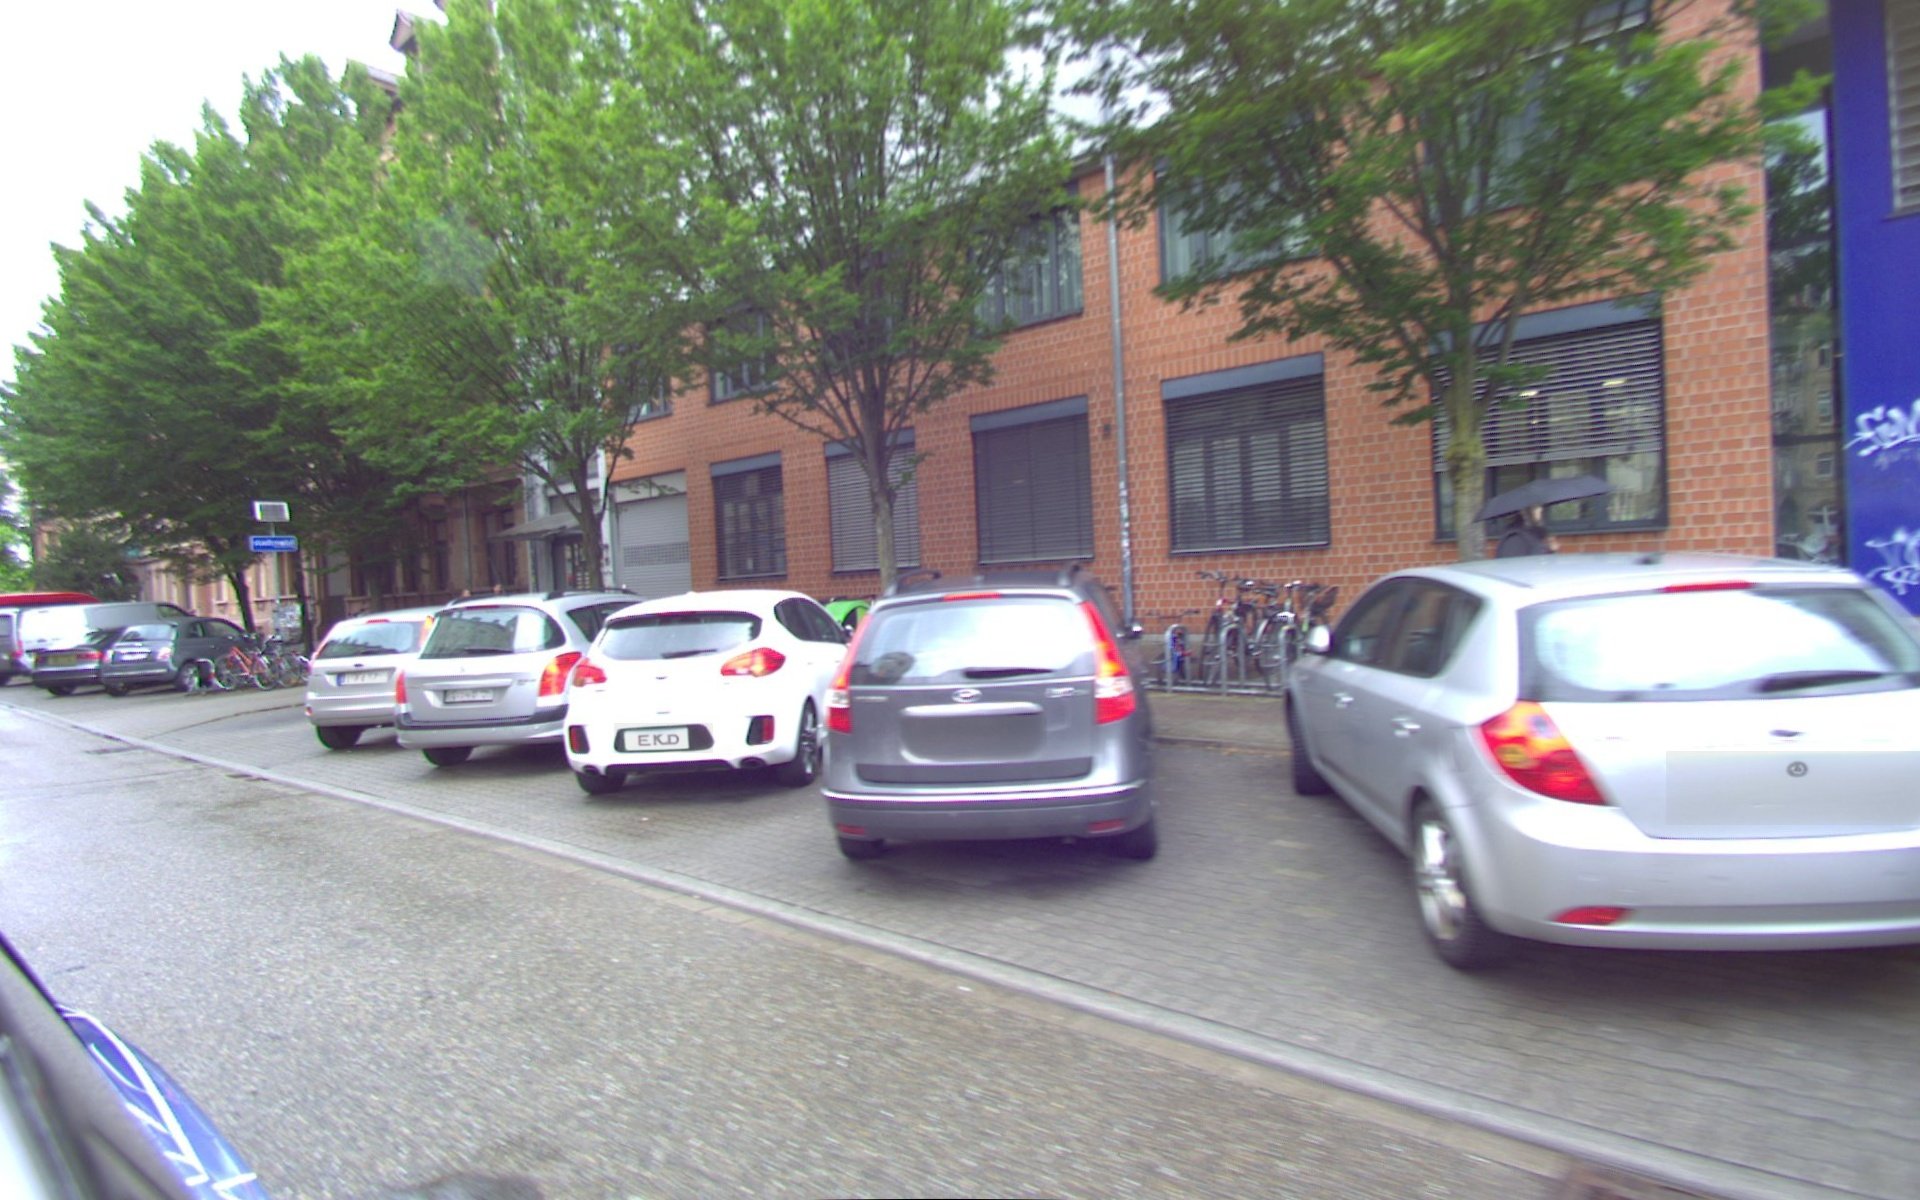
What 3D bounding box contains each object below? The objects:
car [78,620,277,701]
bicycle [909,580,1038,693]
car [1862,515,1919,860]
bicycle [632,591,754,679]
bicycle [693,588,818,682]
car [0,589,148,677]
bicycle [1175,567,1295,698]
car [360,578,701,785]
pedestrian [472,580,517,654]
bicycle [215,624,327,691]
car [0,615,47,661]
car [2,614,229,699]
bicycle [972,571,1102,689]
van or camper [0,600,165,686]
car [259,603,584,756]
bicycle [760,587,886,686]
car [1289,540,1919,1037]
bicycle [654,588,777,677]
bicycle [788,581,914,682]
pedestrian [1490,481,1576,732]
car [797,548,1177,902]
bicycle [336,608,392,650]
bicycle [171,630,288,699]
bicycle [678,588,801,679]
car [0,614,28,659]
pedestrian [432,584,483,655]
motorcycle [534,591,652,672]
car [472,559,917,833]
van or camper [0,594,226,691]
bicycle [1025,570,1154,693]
[{"bbox_3d":[-16.501,1.223,21.569,1.627,1.446,3.483,-2,0,-3],"label":"car"},{"bbox_3d":[0.207,0.426,12.838,0.553,1.160,1.879,-2,5,37],"label":"bicycle"},{"bbox_3d":[4.794,0.399,2.919,1.662,1.518,3.377,-3,1,9],"label":"car"},{"bbox_3d":[-4.312,0.539,16.472,0.553,1.160,1.879,-2,5,37],"label":"bicycle"},{"bbox_3d":[-3.091,0.499,15.495,0.553,1.160,1.879,-2,5,37],"label":"bicycle"},{"bbox_3d":[-29.424,1.038,32.055,2.206,2.559,5.553,-3,1,12],"label":"car"},{"bbox_3d":[3.052,0.317,11.104,0.553,1.160,1.879,-2,5,37],"label":"bicycle"},{"bbox_3d":[-4.004,0.677,10.055,1.614,1.667,3.379,-2,0,7],"label":"car"},{"bbox_3d":[-10.661,0.392,23.170,0.588,1.613,0.562,-3,4,35],"label":"pedestrian"},{"bbox_3d":[-13.661,1.141,20.057,2.133,1.166,0.778,-4,1,24],"label":"bicycle"},{"bbox_3d":[-42.232,1.775,43.082,2.543,1.798,4.536,-2,4,39],"label":"car"},{"bbox_3d":[-18.893,1.195,22.899,1.743,1.457,3.980,-4,2,0],"label":"car"},{"bbox_3d":[0.971,0.324,12.212,0.553,1.160,1.879,-2,5,37],"label":"bicycle"},{"bbox_3d":[-24.652,1.128,27.781,1.760,1.989,4.440,-3,2,7],"label":"van or camper"},{"bbox_3d":[-6.111,0.805,12.020,1.664,1.463,3.709,-2,0,4],"label":"car"},{"bbox_3d":[-1.957,0.502,14.726,0.553,1.160,1.879,-2,5,37],"label":"bicycle"},{"bbox_3d":[2.785,0.525,4.701,1.660,1.468,3.380,-3,1,6],"label":"car"},{"bbox_3d":[-3.870,0.493,16.169,0.553,1.160,1.879,-2,5,37],"label":"bicycle"},{"bbox_3d":[-1.501,0.411,14.301,0.553,1.160,1.879,-2,5,37],"label":"bicycle"},{"bbox_3d":[4.147,0.034,7.316,0.433,1.720,0.605,0,2,40],"label":"pedestrian"},{"bbox_3d":[0.345,0.531,6.237,1.661,1.553,3.378,-3,1,9],"label":"car"},{"bbox_3d":[-18.846,0.930,31.973,2.411,1.201,0.660,-2,4,41],"label":"bicycle"},{"bbox_3d":[-13.962,1.228,19.335,2.206,1.166,0.744,-4,1,24],"label":"bicycle"},{"bbox_3d":[-3.418,0.494,15.842,0.553,1.160,1.879,-2,5,37],"label":"bicycle"},{"bbox_3d":[-46.495,1.833,46.474,1.853,2.093,5.228,-2,2,15],"label":"car"},{"bbox_3d":[-11.281,0.432,22.722,0.586,1.507,0.682,-3,4,35],"label":"pedestrian"},{"bbox_3d":[-6.829,0.564,18.903,0.656,1.233,1.863,-2,5,43],"label":"motorcycle"},{"bbox_3d":[-1.844,0.558,8.850,2.309,1.550,4.520,-2,4,5],"label":"car"},{"bbox_3d":[-21.801,0.996,26.099,2.304,1.967,4.701,-4,2,-2],"label":"van or camper"},{"bbox_3d":[1.546,0.326,11.791,0.553,1.160,1.879,-2,5,37],"label":"bicycle"}]
